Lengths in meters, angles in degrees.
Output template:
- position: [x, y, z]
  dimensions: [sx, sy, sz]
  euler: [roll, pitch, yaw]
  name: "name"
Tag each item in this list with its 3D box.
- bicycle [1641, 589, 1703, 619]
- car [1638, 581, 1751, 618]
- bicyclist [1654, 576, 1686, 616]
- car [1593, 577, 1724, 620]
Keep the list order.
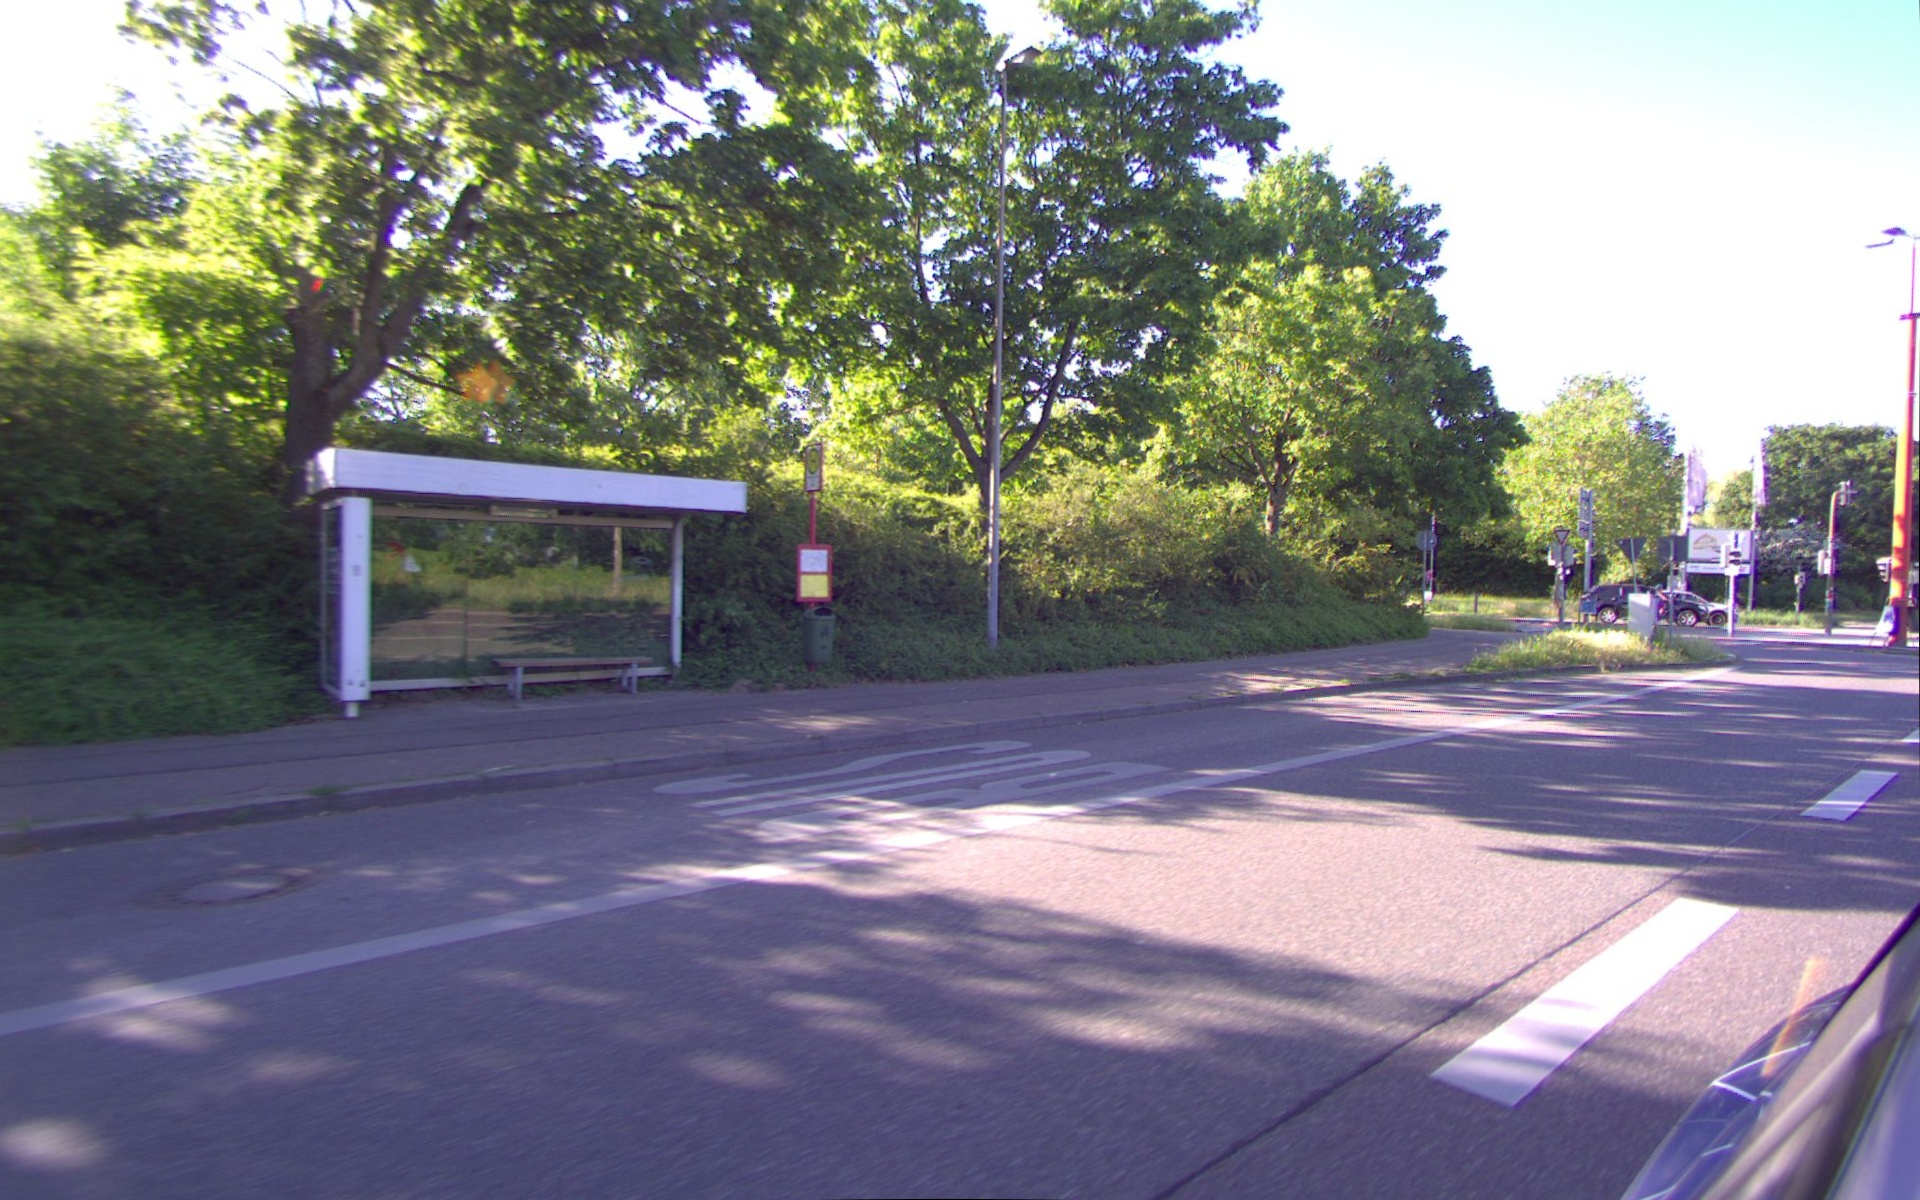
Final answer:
- position: [29.152, 0.152, 41.444]
  dimensions: [2.006, 1.105, 0.755]
  euler: [3, 2, 39]
  name: "bicycle"
- position: [33.903, -0.044, 46.859]
  dimensions: [4.059, 1.558, 1.754]
  euler: [2, 1, 31]
  name: "car"
- position: [29.096, -0.171, 41.486]
  dimensions: [0.976, 1.577, 0.751]
  euler: [3, 2, 39]
  name: "bicyclist"
- position: [30.620, -0.091, 44.546]
  dimensions: [4.618, 1.748, 1.887]
  euler: [2, 1, 32]
  name: "car"
